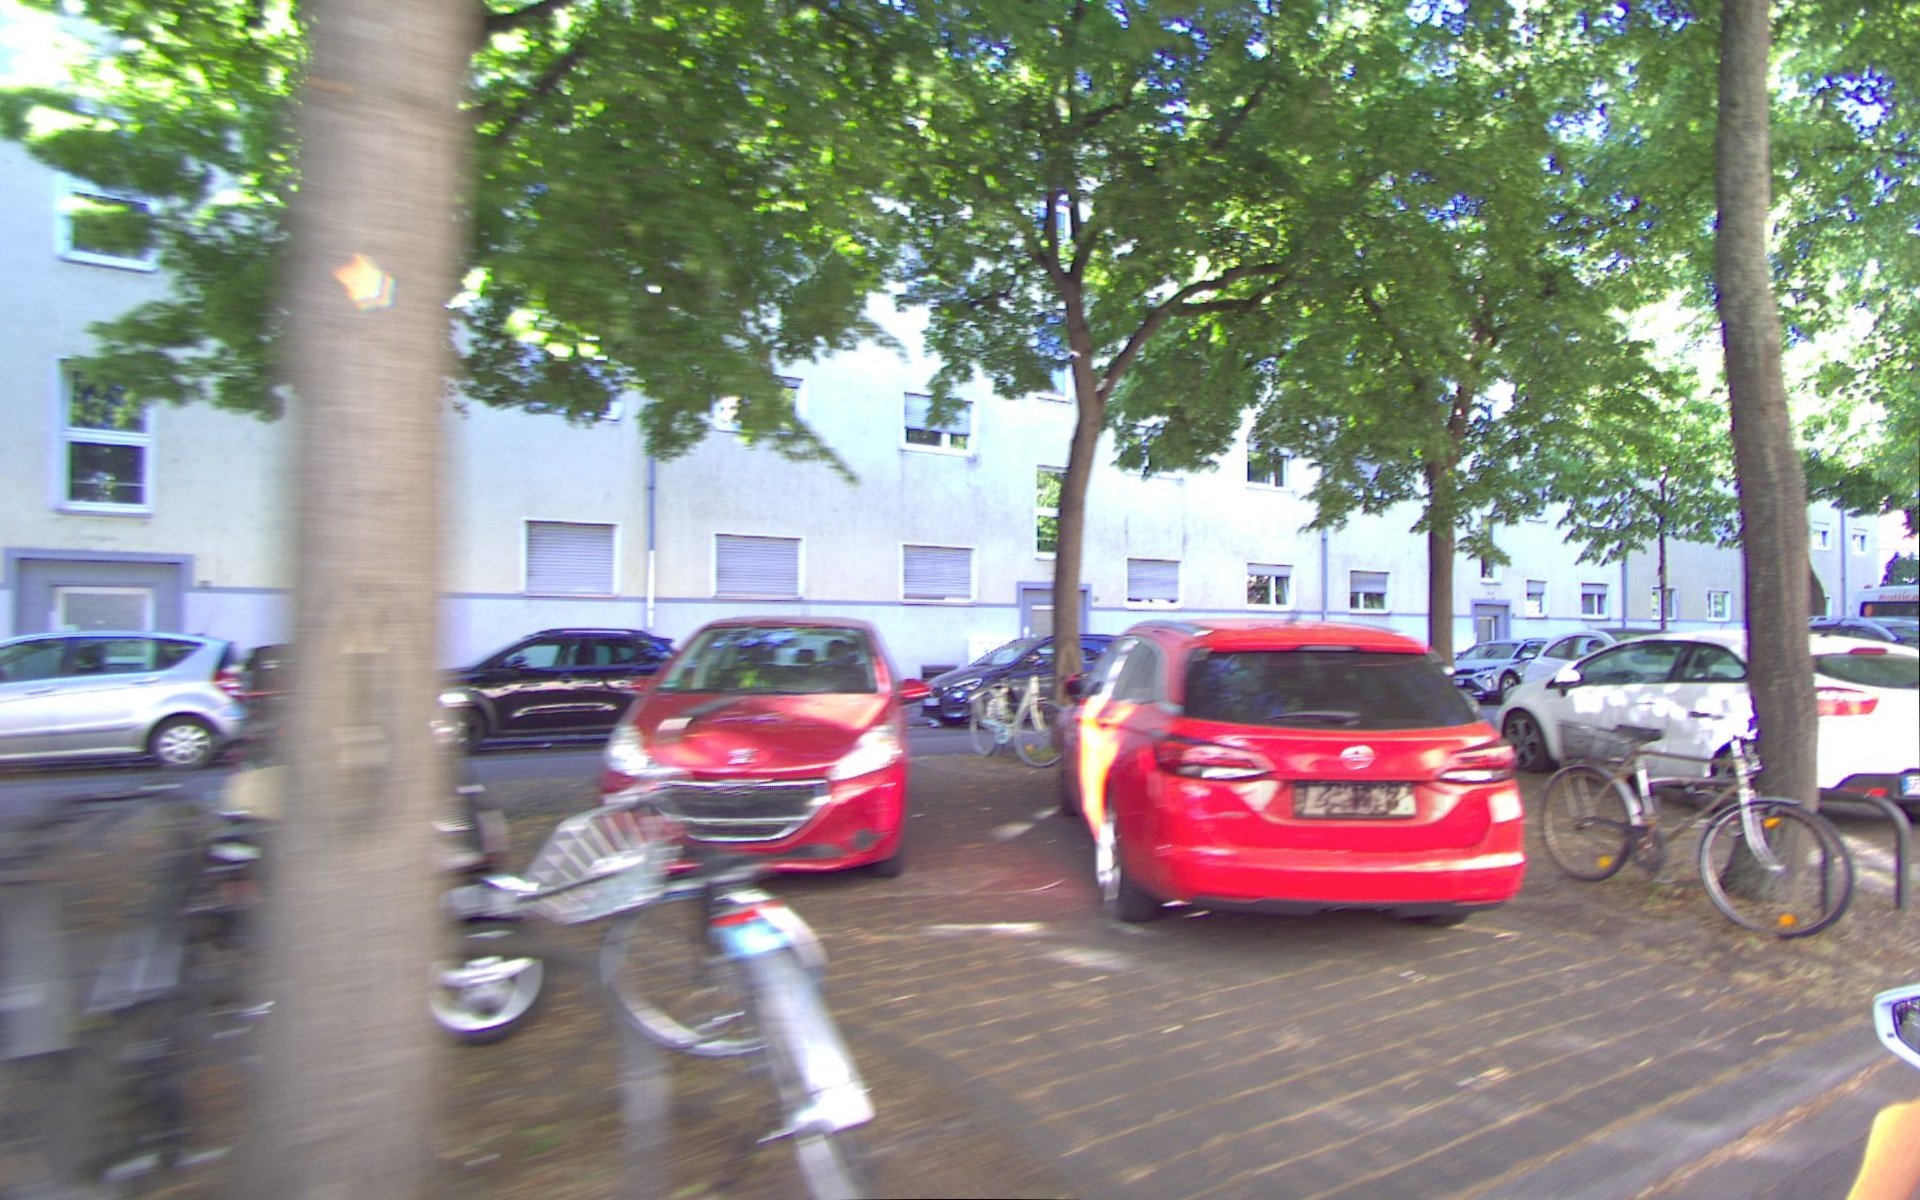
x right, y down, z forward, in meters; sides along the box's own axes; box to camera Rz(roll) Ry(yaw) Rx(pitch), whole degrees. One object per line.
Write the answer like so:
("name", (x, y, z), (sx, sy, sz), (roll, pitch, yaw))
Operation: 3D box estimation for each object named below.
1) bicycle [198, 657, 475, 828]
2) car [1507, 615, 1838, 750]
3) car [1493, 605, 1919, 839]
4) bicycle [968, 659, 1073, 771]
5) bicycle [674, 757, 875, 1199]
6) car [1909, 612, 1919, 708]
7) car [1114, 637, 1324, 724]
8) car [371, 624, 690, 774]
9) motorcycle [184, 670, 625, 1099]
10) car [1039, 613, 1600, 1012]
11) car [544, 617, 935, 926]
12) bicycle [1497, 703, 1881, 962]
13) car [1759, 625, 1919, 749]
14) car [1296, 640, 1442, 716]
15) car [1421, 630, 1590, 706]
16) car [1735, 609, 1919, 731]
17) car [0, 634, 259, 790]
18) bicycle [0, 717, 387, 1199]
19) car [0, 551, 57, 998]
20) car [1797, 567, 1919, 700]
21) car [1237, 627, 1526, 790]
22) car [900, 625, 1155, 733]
("bicycle", (-4.640, 1.051, 7.535), (1.767, 1.216, 0.356), (1, 0, -6))
("car", (9.511, 1.061, 13.877), (1.809, 1.576, 3.917), (-1, -2, 1))
("car", (6.647, 0.871, 8.862), (1.739, 1.617, 3.692), (1, -1, -4))
("bicycle", (0.616, 1.192, 10.830), (0.383, 1.102, 1.749), (1, -3, -23))
("bicycle", (-0.512, 1.053, 2.861), (0.372, 0.931, 1.901), (1, -1, -10))
("car", (17.532, 1.041, 15.532), (1.623, 1.663, 4.275), (1, 0, -1))
("car", (5.376, 1.595, 20.762), (4.114, 1.585, 1.883), (1, -3, -32))
("car", (-5.830, 1.224, 13.773), (3.798, 1.776, 1.691), (1, -1, -34))
("motorcycle", (-2.036, 0.914, 3.682), (1.486, 1.271, 0.644), (-1, -1, 24))
("car", (1.559, 0.843, 6.149), (1.726, 1.506, 4.629), (1, -1, -1))
("car", (-1.118, 0.884, 6.942), (1.835, 1.492, 4.116), (0, -1, -1))
("bicycle", (3.735, 1.122, 5.366), (0.418, 1.007, 1.812), (0, -2, -14))
("car", (12.524, 1.081, 12.617), (1.698, 1.501, 4.110), (1, -1, 0))
("car", (9.310, 1.742, 22.845), (3.148, 1.579, 1.467), (1, -3, -32))
("car", (13.842, 1.671, 25.431), (4.507, 1.745, 1.733), (1, -3, -32))
("car", (15.105, 1.088, 16.107), (1.862, 1.800, 4.394), (1, -2, -2))
("car", (-10.085, 1.211, 11.263), (3.540, 1.596, 1.608), (1, -3, -32))
("bicycle", (-1.838, 0.943, 2.272), (0.372, 1.174, 1.688), (1, -1, -10))
("car", (-4.436, 0.627, 1.910), (1.827, 1.675, 4.088), (1, -1, -2))
("car", (20.600, 0.633, 19.703), (2.413, 2.655, 6.073), (1, -6, -14))
("car", (4.370, 1.030, 11.118), (1.761, 1.454, 4.002), (0, -1, 4))
("car", (1.258, 1.371, 18.207), (4.326, 1.741, 1.838), (1, -4, -30))
